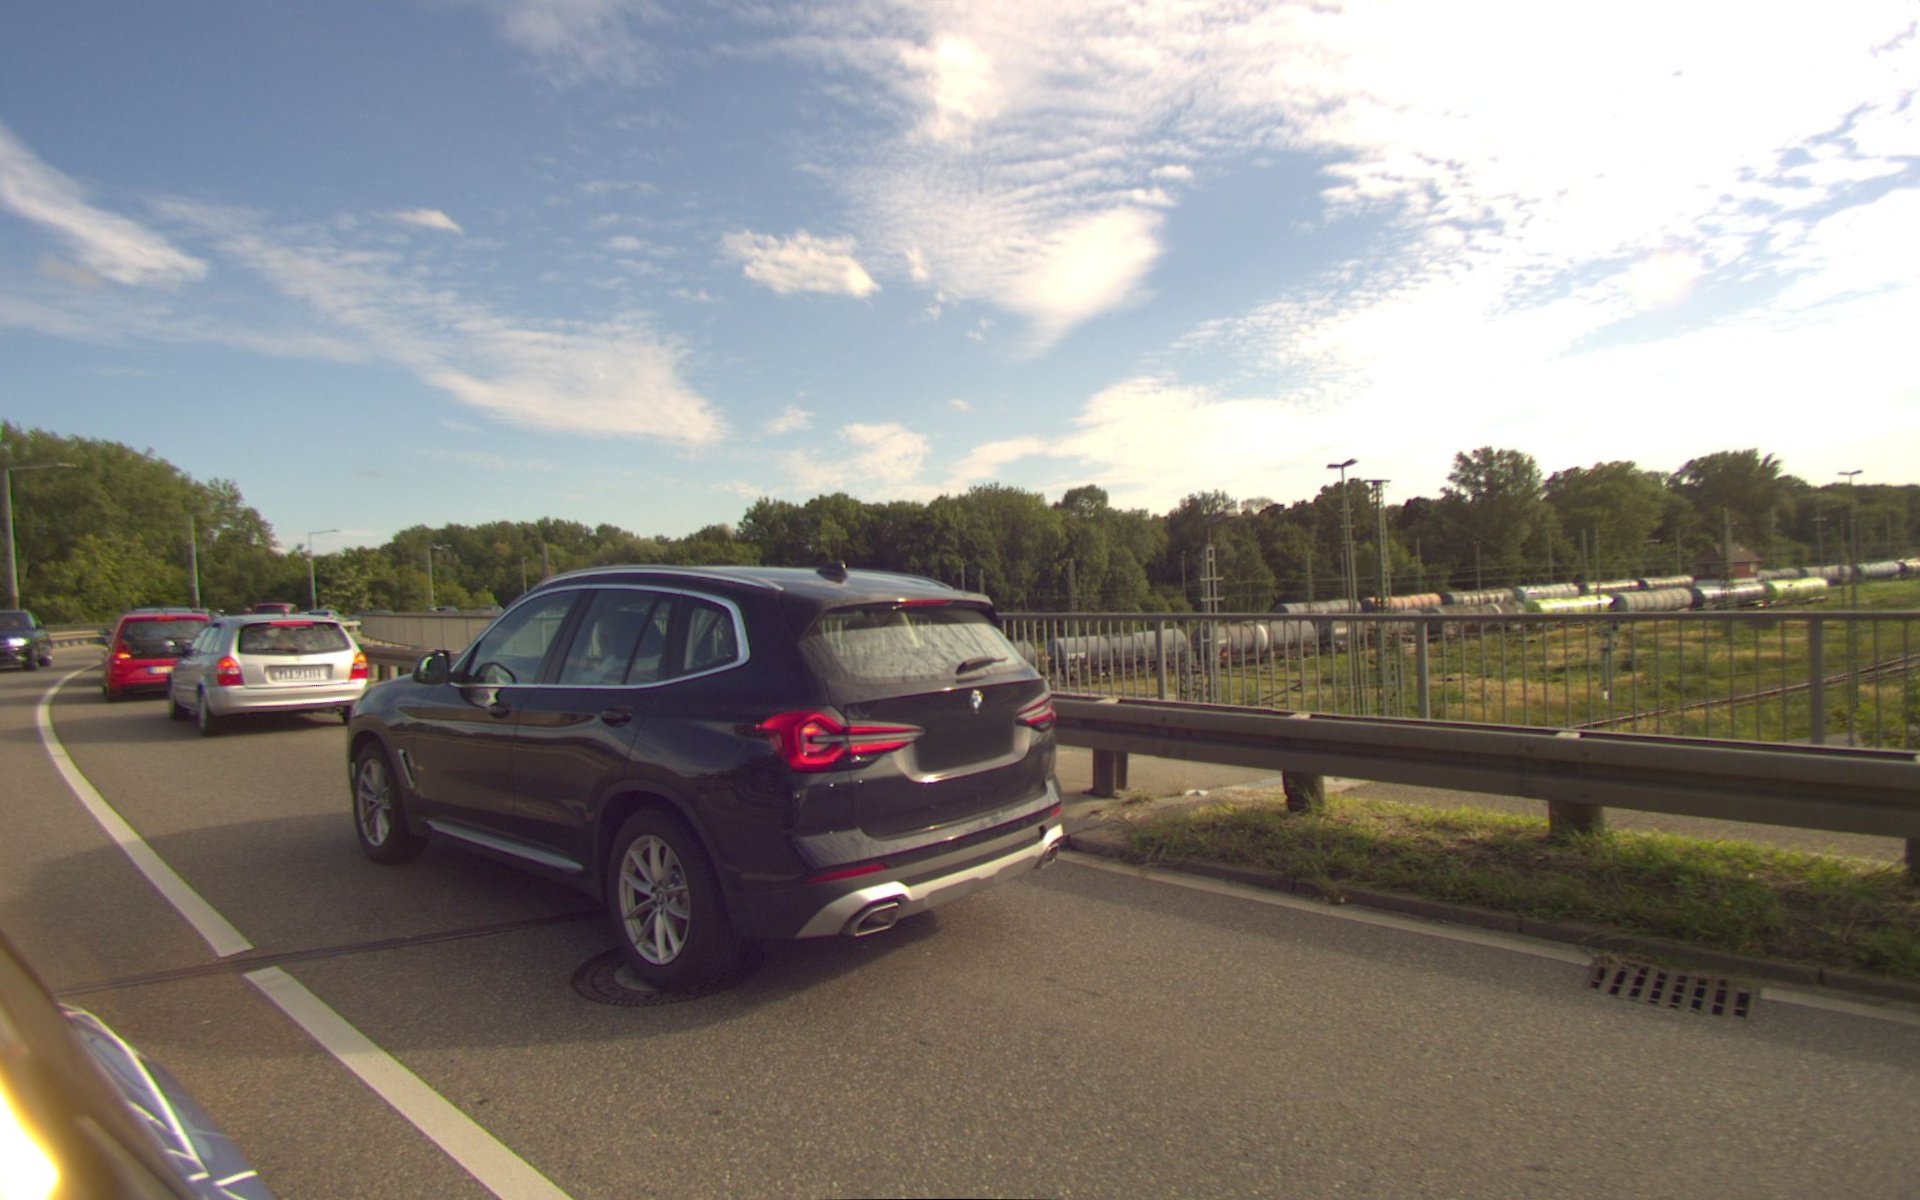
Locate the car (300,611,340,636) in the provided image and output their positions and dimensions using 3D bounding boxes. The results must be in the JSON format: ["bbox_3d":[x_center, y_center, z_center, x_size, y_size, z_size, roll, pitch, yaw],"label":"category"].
[{"bbox_3d":[-42.690,1.547,67.571,1.728,1.621,4.328,-1,0,-25],"label":"car"}]

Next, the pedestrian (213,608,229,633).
[{"bbox_3d":[-51.642,1.414,70.736,0.667,1.674,0.868,-1,0,-19],"label":"pedestrian"}]

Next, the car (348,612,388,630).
[{"bbox_3d":[-51.770,1.796,88.617,1.790,1.518,4.402,-1,0,-13],"label":"car"}]

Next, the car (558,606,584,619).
[{"bbox_3d":[-49.665,1.595,129.290,1.722,1.512,4.076,-1,0,1],"label":"car"}]

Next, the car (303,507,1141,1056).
[{"bbox_3d":[-1.559,0.593,5.295,4.638,1.662,1.870,-1,-2,40],"label":"car"}]

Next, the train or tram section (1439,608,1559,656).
[{"bbox_3d":[59.810,3.407,112.015,16.461,4.748,3.107,-1,0,-28],"label":"train or tram section"}]

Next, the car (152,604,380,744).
[{"bbox_3d":[-9.030,0.828,13.008,1.712,1.466,4.268,-2,0,-44],"label":"car"}]

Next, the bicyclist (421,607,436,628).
[{"bbox_3d":[-41.864,1.364,79.713,0.756,1.673,1.123,-1,0,-11],"label":"bicyclist"}]

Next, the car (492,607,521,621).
[{"bbox_3d":[-50.710,1.540,113.344,1.720,1.512,4.082,-1,0,-5],"label":"car"}]

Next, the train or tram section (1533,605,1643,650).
[{"bbox_3d":[74.394,3.086,119.660,16.461,4.748,3.107,-1,0,-28],"label":"train or tram section"}]

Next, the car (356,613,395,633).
[{"bbox_3d":[-47.151,1.817,81.662,1.717,1.512,4.089,-1,0,-15],"label":"car"}]

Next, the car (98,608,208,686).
[{"bbox_3d":[-18.006,0.978,22.547,1.776,1.531,4.014,-1,0,-40],"label":"car"}]

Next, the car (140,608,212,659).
[{"bbox_3d":[-27.494,1.123,35.601,1.659,1.661,4.310,-1,0,-33],"label":"car"}]

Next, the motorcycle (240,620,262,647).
[{"bbox_3d":[-35.222,1.657,50.287,0.611,1.262,1.798,-1,0,-27],"label":"motorcycle"}]

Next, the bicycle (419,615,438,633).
[{"bbox_3d":[-41.868,1.910,79.759,0.754,1.341,1.921,-1,0,-11],"label":"bicycle"}]

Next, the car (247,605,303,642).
[{"bbox_3d":[-38.497,1.286,56.998,1.979,1.918,4.883,-1,0,-26],"label":"car"}]

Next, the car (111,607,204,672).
[{"bbox_3d":[-22.744,1.056,28.834,1.900,1.661,4.599,-1,0,-36],"label":"car"}]

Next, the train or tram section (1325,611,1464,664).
[{"bbox_3d":[45.049,3.729,104.606,16.459,4.748,3.107,-1,0,-26],"label":"train or tram section"}]

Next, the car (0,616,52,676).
[{"bbox_3d":[-26.044,1.204,27.341,1.790,1.518,4.401,-1,0,-36],"label":"car"}]

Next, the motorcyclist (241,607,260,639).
[{"bbox_3d":[-35.213,1.125,50.247,0.611,1.565,0.940,-1,0,-27],"label":"motorcyclist"}]

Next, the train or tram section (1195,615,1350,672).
[{"bbox_3d":[30.257,4.051,97.447,16.459,4.748,3.107,-1,0,-26],"label":"train or tram section"}]

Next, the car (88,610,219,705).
[{"bbox_3d":[-14.303,0.932,17.882,1.580,1.475,3.741,-1,0,-42],"label":"car"}]
